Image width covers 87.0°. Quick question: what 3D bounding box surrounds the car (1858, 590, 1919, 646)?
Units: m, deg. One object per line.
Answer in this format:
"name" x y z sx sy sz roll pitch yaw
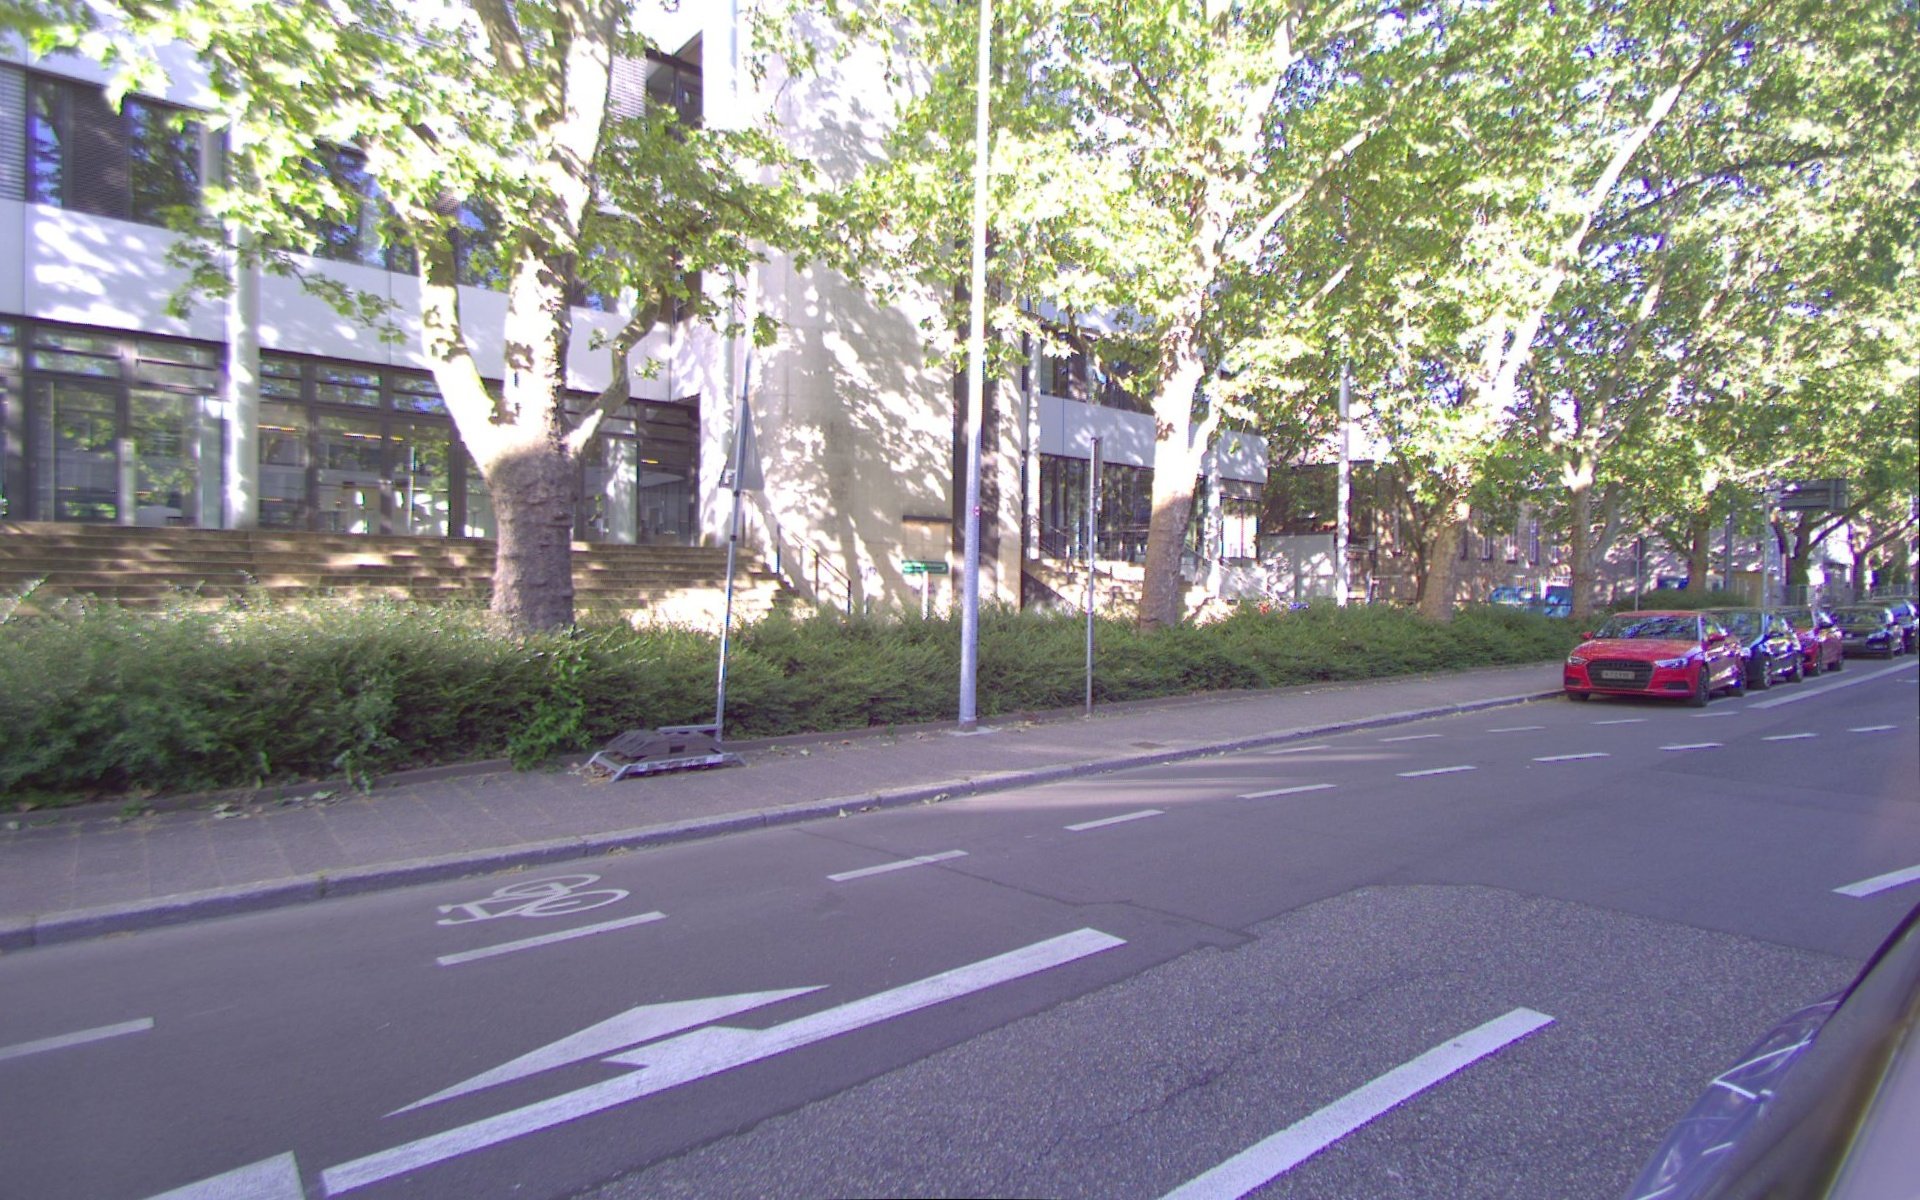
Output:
"car" 29.507 0.521 31.648 3.770 1.640 1.684 0 1 -41

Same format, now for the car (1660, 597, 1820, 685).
"car" 14.803 0.701 19.140 3.930 1.485 1.684 0 0 -41

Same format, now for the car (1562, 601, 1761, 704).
"car" 11.238 0.751 16.113 3.962 1.439 1.722 0 -2 -42

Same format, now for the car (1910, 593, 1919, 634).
"car" 38.699 0.509 39.720 3.801 1.581 1.684 0 1 -41

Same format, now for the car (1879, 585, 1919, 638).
"car" 33.962 0.388 35.703 4.354 1.790 1.818 0 1 -41

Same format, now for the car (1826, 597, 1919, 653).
"car" 26.006 0.652 28.694 3.930 1.469 1.684 0 1 -41

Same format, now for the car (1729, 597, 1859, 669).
"car" 18.604 0.672 22.534 3.715 1.452 1.664 0 1 -41
